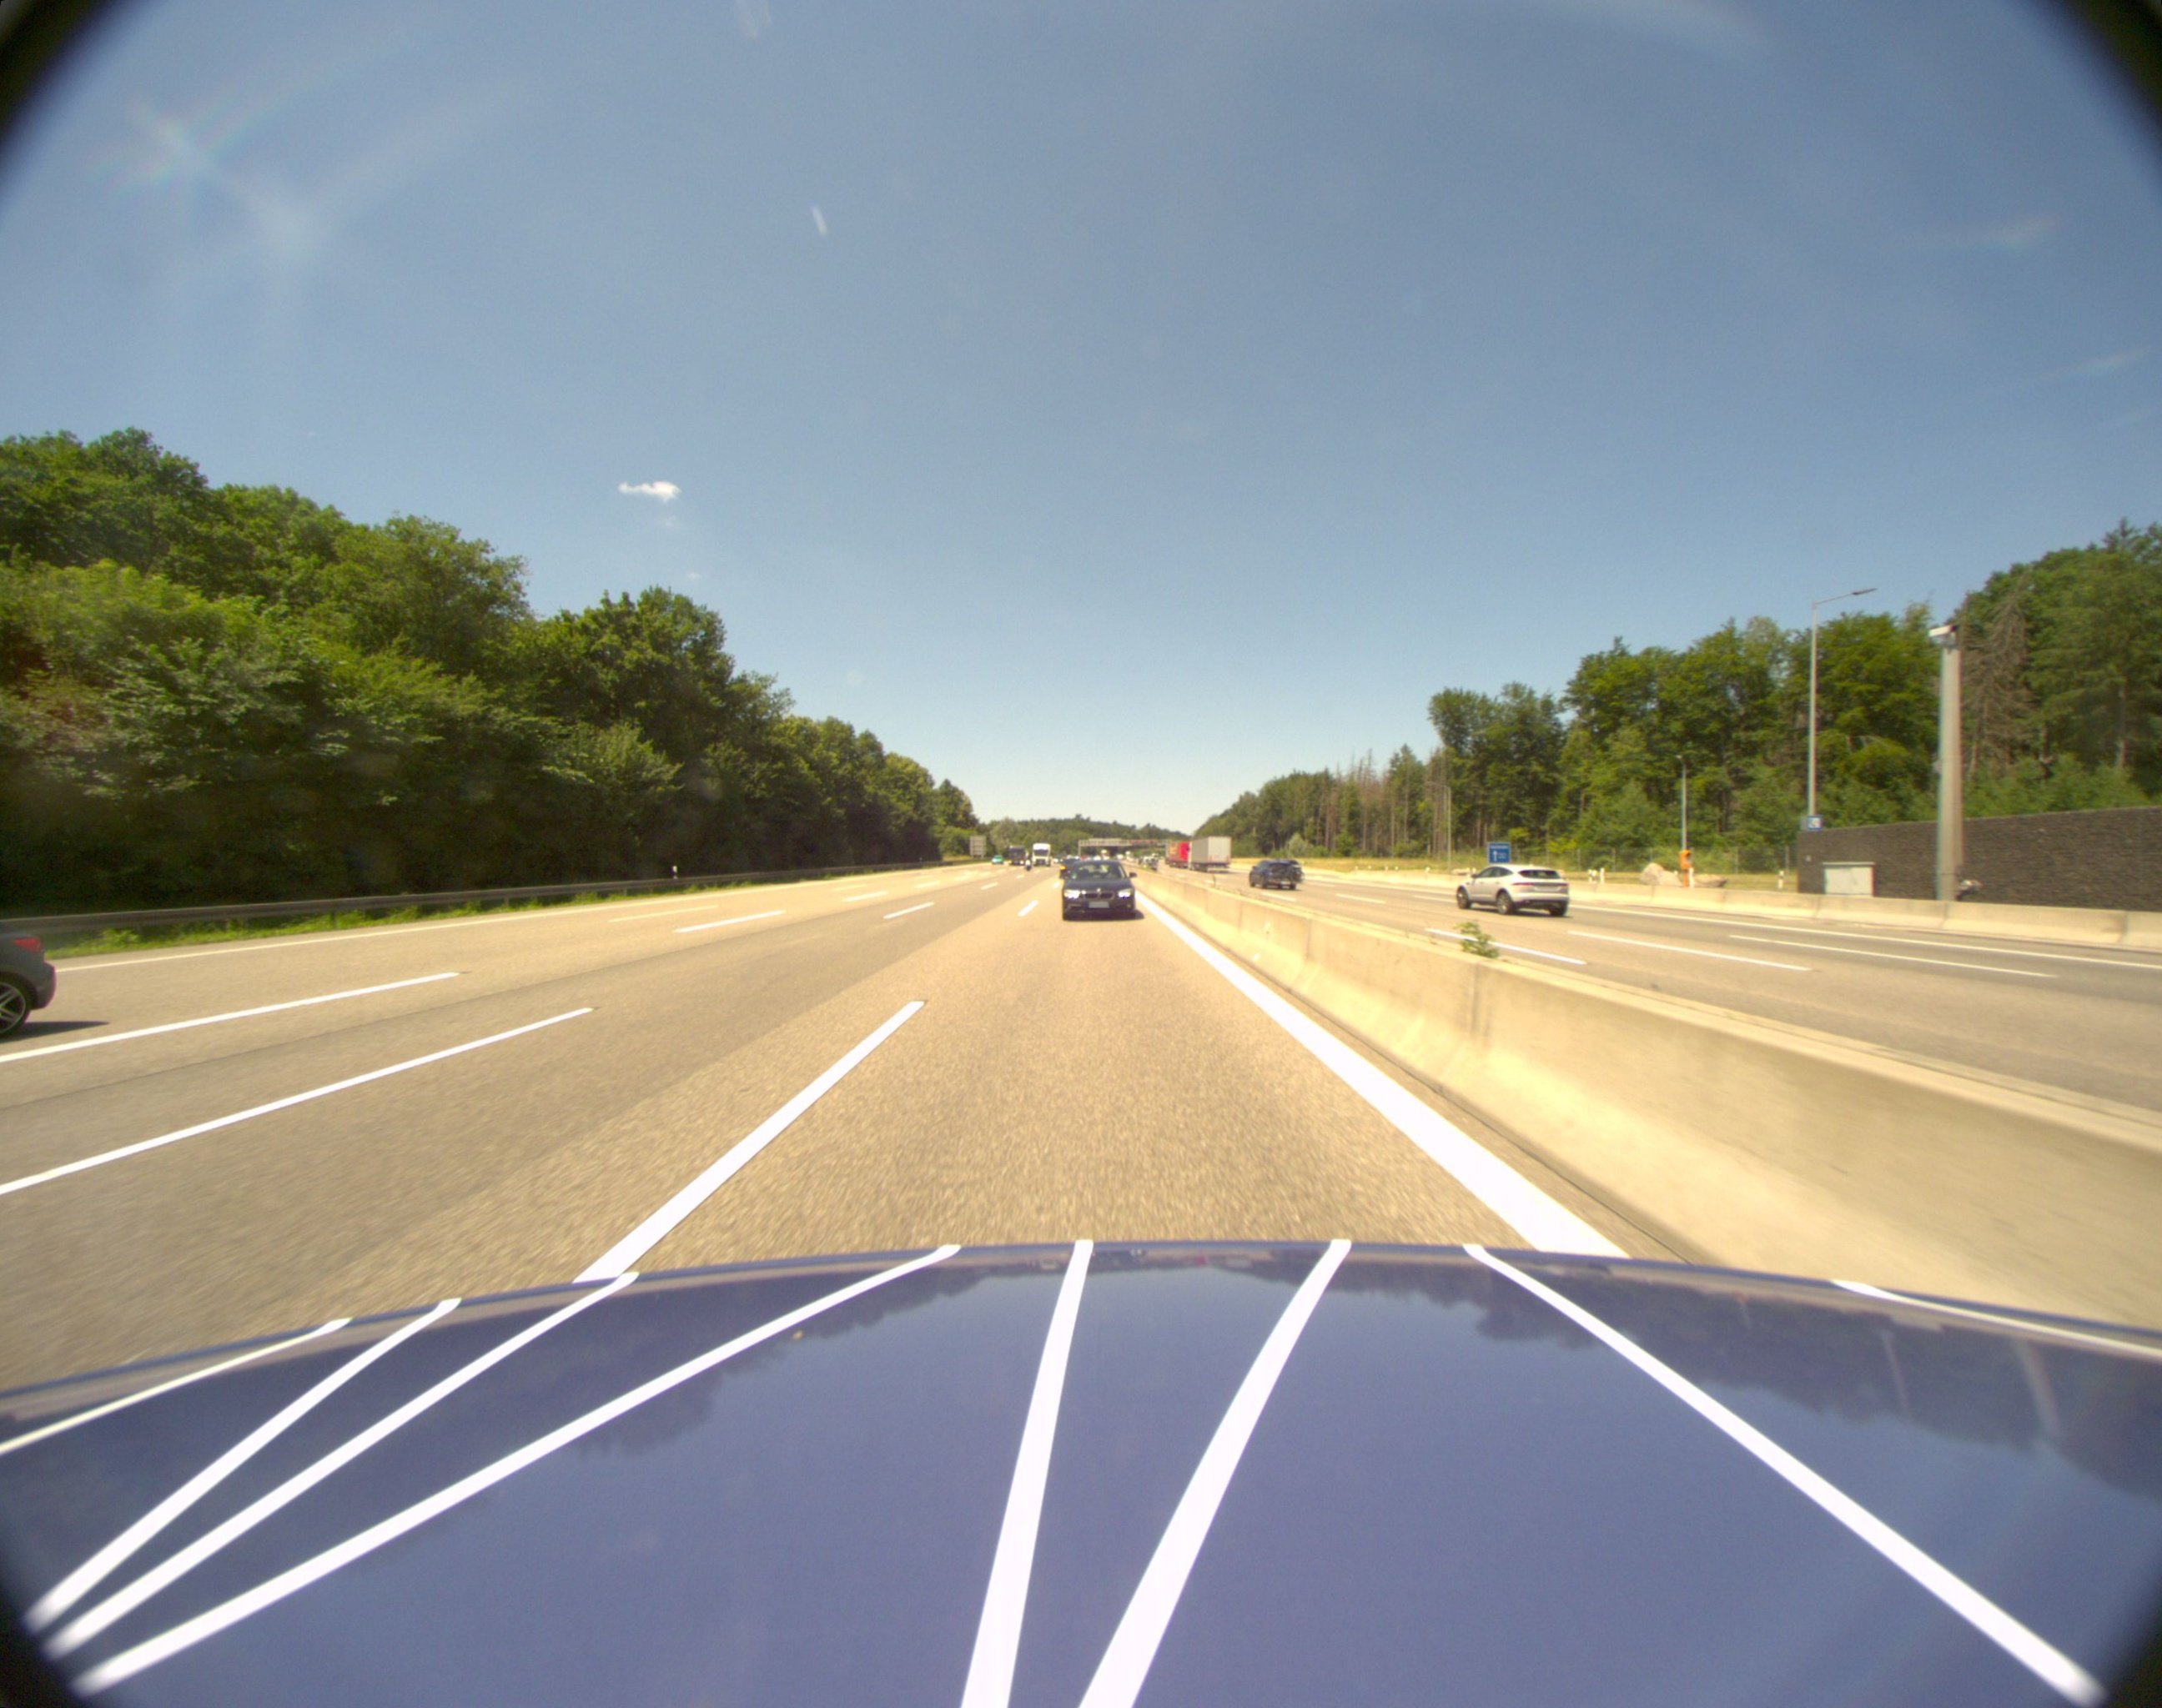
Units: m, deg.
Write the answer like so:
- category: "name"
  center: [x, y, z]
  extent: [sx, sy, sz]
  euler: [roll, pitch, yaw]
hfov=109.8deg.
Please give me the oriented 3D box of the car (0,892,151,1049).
- category: "car"
  center: [-11.196, 1.182, 6.111]
  extent: [1.647, 1.430, 4.635]
  euler: [-2, 0, 0]

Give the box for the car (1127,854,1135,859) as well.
- category: "car"
  center: [15.376, 0.760, 234.410]
  extent: [1.999, 1.748, 5.009]
  euler: [1, 0, -1]

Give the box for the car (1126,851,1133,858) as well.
- category: "car"
  center: [15.055, 0.070, 237.633]
  extent: [1.998, 2.002, 5.129]
  euler: [1, 0, 2]

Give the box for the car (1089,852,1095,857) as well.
- category: "car"
  center: [3.569, 0.225, 239.753]
  extent: [1.910, 1.450, 4.127]
  euler: [1, 0, 1]

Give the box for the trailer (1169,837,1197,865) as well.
- category: "trailer"
  center: [15.517, -0.475, 116.408]
  extent: [2.577, 4.026, 14.181]
  euler: [0, 0, 1]

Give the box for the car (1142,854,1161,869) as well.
- category: "car"
  center: [8.354, 0.843, 90.377]
  extent: [1.788, 1.633, 5.463]
  euler: [0, 0, 1]

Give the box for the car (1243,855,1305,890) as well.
- category: "car"
  center: [10.655, 0.961, 42.396]
  extent: [1.998, 1.763, 5.923]
  euler: [0, 0, 1]

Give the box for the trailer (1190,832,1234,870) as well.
- category: "trailer"
  center: [15.058, -0.351, 88.372]
  extent: [2.761, 3.978, 14.467]
  euler: [0, 0, 1]

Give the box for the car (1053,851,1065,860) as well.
- category: "car"
  center: [-4.212, 0.286, 147.049]
  extent: [1.998, 1.670, 4.127]
  euler: [1, 0, 2]

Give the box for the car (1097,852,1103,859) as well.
- category: "car"
  center: [5.951, 0.433, 237.108]
  extent: [1.998, 1.935, 4.128]
  euler: [0, -1, 1]

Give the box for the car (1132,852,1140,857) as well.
- category: "car"
  center: [14.998, 0.163, 206.796]
  extent: [1.998, 1.369, 5.010]
  euler: [1, 0, 2]

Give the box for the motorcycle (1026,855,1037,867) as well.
- category: "motorcycle"
  center: [-5.167, 0.725, 79.684]
  extent: [0.925, 1.310, 2.998]
  euler: [0, 0, 1]

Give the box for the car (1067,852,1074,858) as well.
- category: "car"
  center: [-2.756, 0.194, 204.210]
  extent: [1.747, 1.529, 4.127]
  euler: [1, 0, 2]

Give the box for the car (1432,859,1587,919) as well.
- category: "car"
  center: [14.303, 1.076, 25.914]
  extent: [1.998, 1.763, 5.923]
  euler: [0, 0, 1]

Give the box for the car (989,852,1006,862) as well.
- category: "car"
  center: [-13.167, 0.464, 120.396]
  extent: [1.998, 1.670, 4.127]
  euler: [1, 0, 2]

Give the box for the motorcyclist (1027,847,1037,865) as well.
- category: "motorcyclist"
  center: [-5.153, 0.185, 79.793]
  extent: [0.914, 1.926, 0.905]
  euler: [0, 1, 0]

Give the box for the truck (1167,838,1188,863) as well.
- category: "truck"
  center: [15.588, -0.544, 123.190]
  extent: [2.534, 4.025, 6.472]
  euler: [0, 0, 1]

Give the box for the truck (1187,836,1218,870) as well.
- category: "truck"
  center: [15.077, -0.175, 94.704]
  extent: [2.741, 4.008, 6.781]
  euler: [1, 1, 1]

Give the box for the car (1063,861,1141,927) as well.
- category: "car"
  center: [0.544, 0.933, 19.607]
  extent: [1.741, 1.450, 4.543]
  euler: [-1, 0, 2]

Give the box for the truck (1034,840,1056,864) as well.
- category: "truck"
  center: [-5.174, -0.314, 111.052]
  extent: [2.428, 3.237, 8.690]
  euler: [1, 0, 2]

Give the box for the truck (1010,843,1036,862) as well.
- category: "truck"
  center: [-8.788, -0.246, 116.965]
  extent: [2.660, 2.839, 10.886]
  euler: [1, 0, 3]

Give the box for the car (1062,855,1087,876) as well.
- category: "car"
  center: [-0.454, 0.855, 58.186]
  extent: [1.834, 1.454, 4.204]
  euler: [1, 0, 1]

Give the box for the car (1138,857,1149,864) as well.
- category: "car"
  center: [12.353, 1.329, 149.527]
  extent: [1.825, 1.379, 4.316]
  euler: [0, 0, 1]

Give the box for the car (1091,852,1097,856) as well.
- category: "car"
  center: [4.464, -0.012, 256.687]
  extent: [1.910, 1.450, 4.128]
  euler: [1, 0, 4]

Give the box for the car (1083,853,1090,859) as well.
- category: "car"
  center: [1.513, 0.604, 202.057]
  extent: [1.910, 1.450, 4.127]
  euler: [1, 0, 1]

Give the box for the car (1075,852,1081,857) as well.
- category: "car"
  center: [-0.990, 0.178, 258.446]
  extent: [1.910, 1.450, 4.127]
  euler: [1, 0, 1]
